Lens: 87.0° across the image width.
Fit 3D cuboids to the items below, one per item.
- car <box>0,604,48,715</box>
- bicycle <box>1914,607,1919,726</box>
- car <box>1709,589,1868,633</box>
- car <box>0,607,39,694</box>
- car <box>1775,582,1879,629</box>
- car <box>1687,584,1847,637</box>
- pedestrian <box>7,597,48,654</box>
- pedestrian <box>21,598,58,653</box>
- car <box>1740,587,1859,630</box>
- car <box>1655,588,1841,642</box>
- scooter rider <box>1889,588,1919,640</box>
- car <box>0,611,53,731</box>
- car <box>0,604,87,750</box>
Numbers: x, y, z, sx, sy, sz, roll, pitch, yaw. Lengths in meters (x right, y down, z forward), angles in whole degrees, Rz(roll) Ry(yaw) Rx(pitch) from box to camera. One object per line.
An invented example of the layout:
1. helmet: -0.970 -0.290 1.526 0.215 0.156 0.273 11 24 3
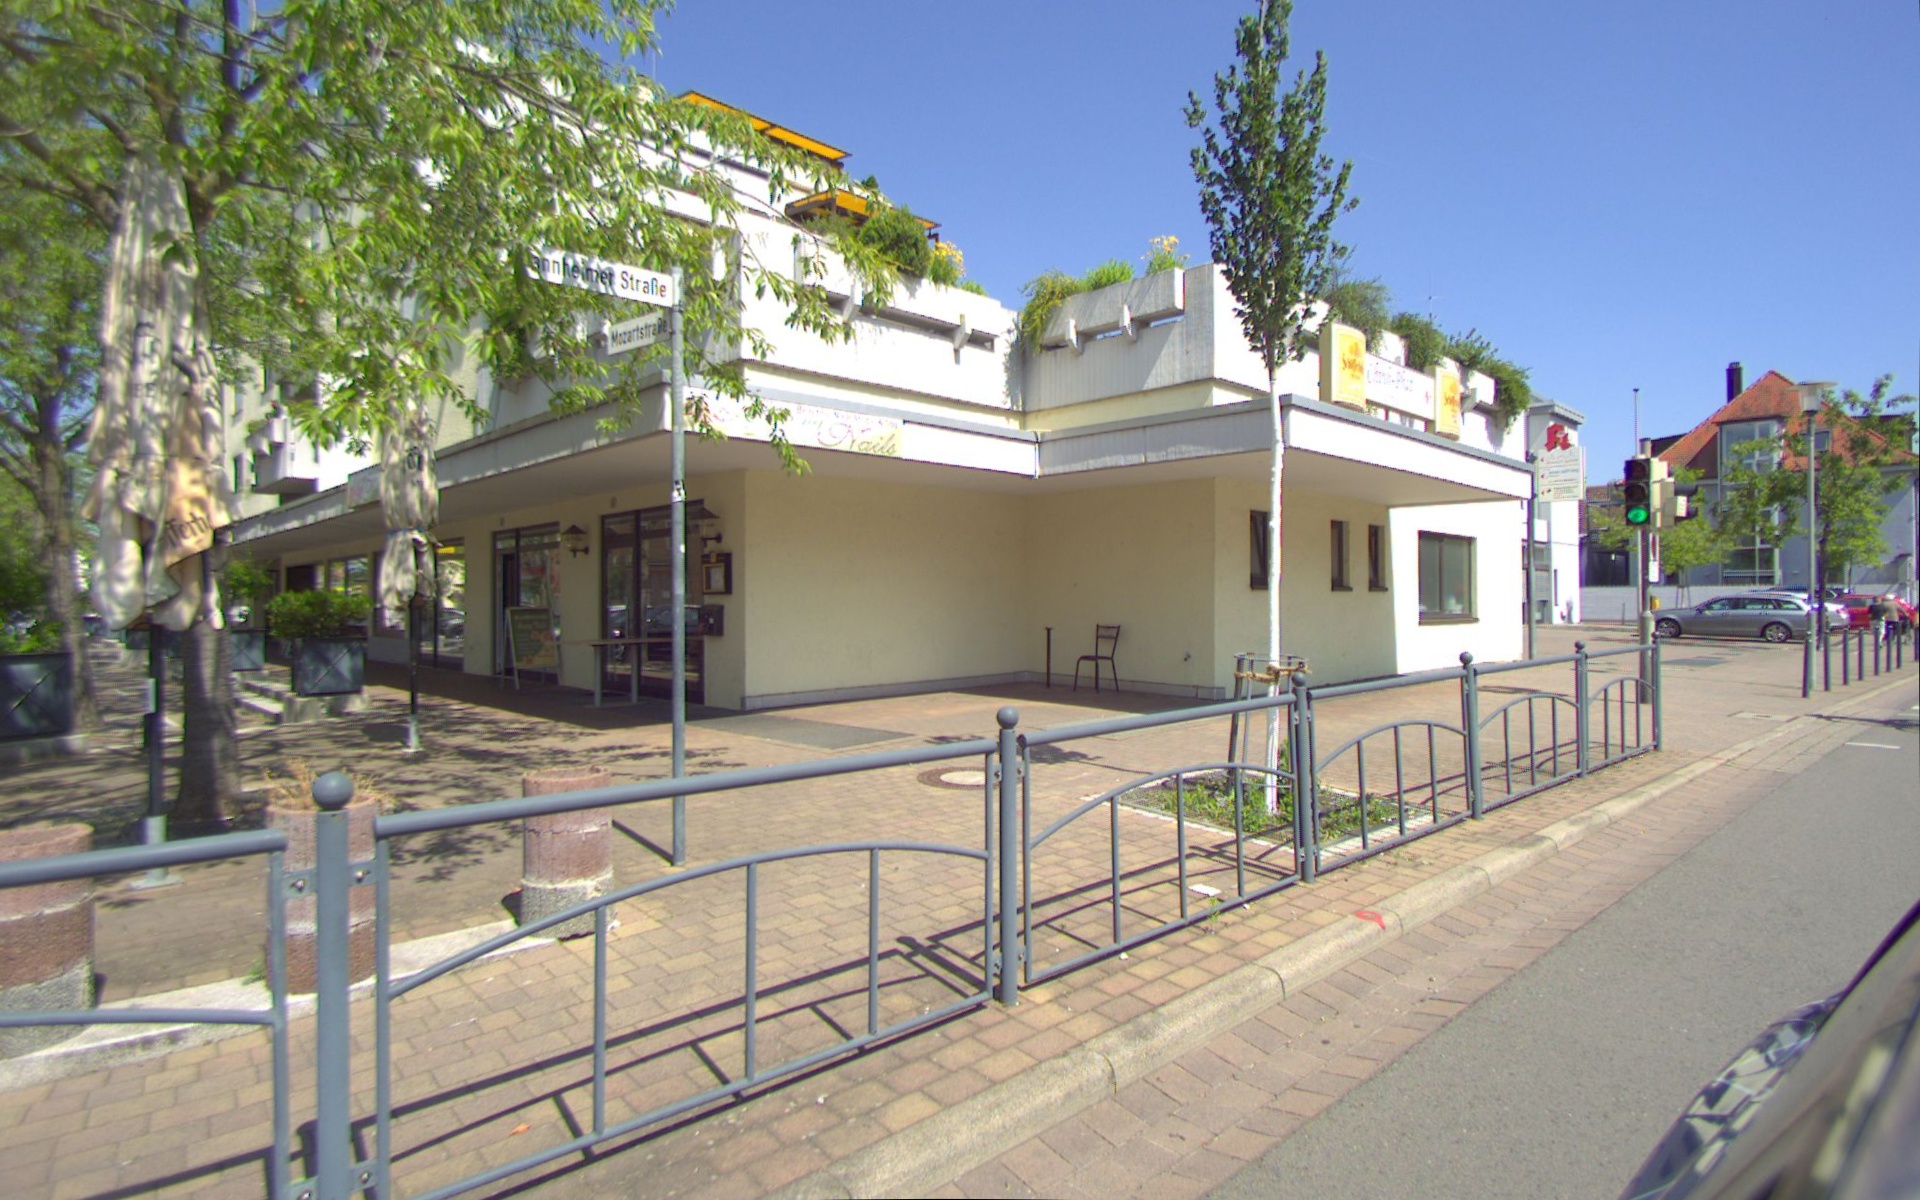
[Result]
1. car: -15.201 0.899 14.062 1.760 1.554 3.676 0 1 45
2. bicycle: 10.686 0.699 10.739 1.938 1.205 0.736 2 -3 -45
3. car: 30.362 0.355 37.176 4.430 1.460 1.631 2 1 42
4. car: -19.023 0.939 17.710 1.938 1.560 4.133 -1 0 41
5. car: 34.114 0.183 39.860 3.033 1.759 1.324 2 1 44
6. car: 26.666 0.309 33.511 4.034 1.579 1.686 2 1 43
7. pedestrian: -30.157 0.822 32.732 0.824 1.809 0.807 0 0 -32
8. pedestrian: -31.063 0.852 34.151 0.803 1.809 0.828 0 0 39
9. car: 32.200 0.285 38.862 1.466 1.571 3.422 0 0 -45
10. car: 24.554 0.403 31.644 4.433 1.484 1.664 2 2 44
11. scooter rider: 24.996 0.356 26.792 1.113 1.341 0.462 0 0 -40
12. car: -13.634 0.938 12.103 1.778 1.449 4.045 0 2 44
13. car: -11.657 0.854 10.419 1.766 1.529 3.909 -1 0 44
